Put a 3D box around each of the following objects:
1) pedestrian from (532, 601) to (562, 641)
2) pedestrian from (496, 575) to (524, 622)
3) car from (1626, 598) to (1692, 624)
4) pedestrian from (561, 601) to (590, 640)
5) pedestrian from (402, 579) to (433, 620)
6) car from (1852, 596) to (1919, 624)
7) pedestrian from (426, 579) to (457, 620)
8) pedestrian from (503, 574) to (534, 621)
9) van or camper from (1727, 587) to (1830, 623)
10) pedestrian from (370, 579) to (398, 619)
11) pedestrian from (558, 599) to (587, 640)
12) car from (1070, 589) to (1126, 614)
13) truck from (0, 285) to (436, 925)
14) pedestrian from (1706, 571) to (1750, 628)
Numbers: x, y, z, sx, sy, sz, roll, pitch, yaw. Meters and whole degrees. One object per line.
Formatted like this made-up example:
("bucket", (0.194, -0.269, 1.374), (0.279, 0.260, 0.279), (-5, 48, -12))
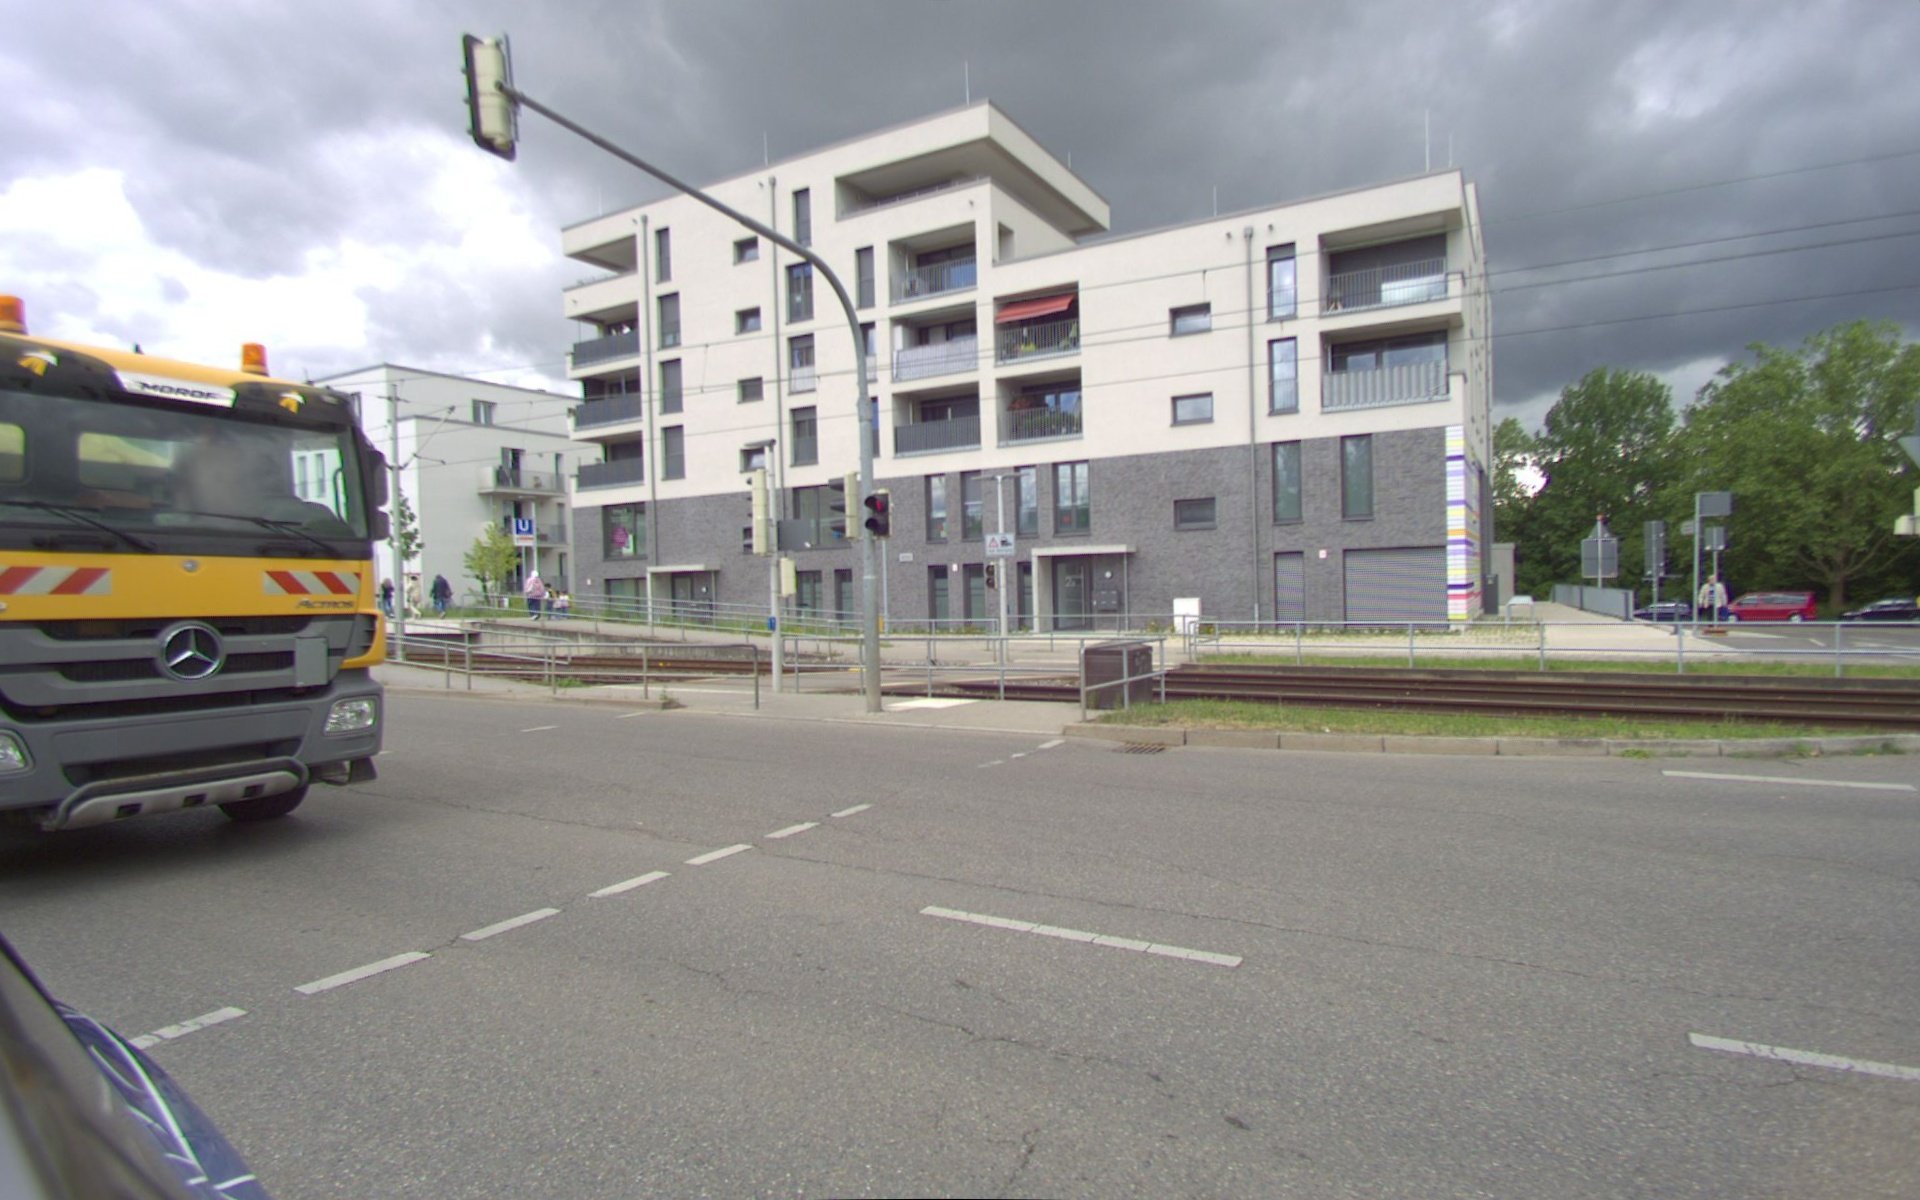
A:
("pedestrian", (-14.951, 0.768, 36.643), (0.668, 1.420, 0.708), (-1, 0, 30))
("pedestrian", (-19.844, -0.056, 44.637), (0.668, 2.029, 0.904), (-1, 0, 29))
("car", (43.300, 0.673, 62.682), (3.265, 1.513, 1.584), (-1, 0, 37))
("pedestrian", (-14.288, 0.752, 37.627), (0.668, 1.420, 0.708), (-1, 0, 30))
("pedestrian", (-19.212, -0.007, 35.834), (0.668, 1.420, 0.708), (-1, 0, 30))
("car", (51.924, 0.552, 56.420), (3.135, 1.513, 1.584), (-1, 0, 37))
("pedestrian", (-18.397, -0.010, 35.903), (0.668, 1.420, 0.708), (-1, 0, 30))
("pedestrian", (-16.232, -0.102, 37.212), (0.762, 1.700, 0.708), (-1, 0, 30))
("van or camper", (47.946, 0.321, 59.410), (4.553, 2.040, 2.022), (-1, 0, 38))
("pedestrian", (-22.361, -0.033, 39.285), (0.668, 1.530, 0.708), (-1, 0, 30))
("pedestrian", (-13.958, 0.698, 36.443), (0.668, 1.420, 0.708), (-1, 0, 30))
("car", (8.798, 0.107, 64.618), (3.135, 1.513, 1.584), (-1, 0, 37))
("truck", (-7.505, 0.015, 7.430), (7.746, 3.026, 2.702), (0, 1, 30))
("pedestrian", (23.459, -0.022, 30.928), (0.989, 1.682, 0.846), (0, 1, 34))
